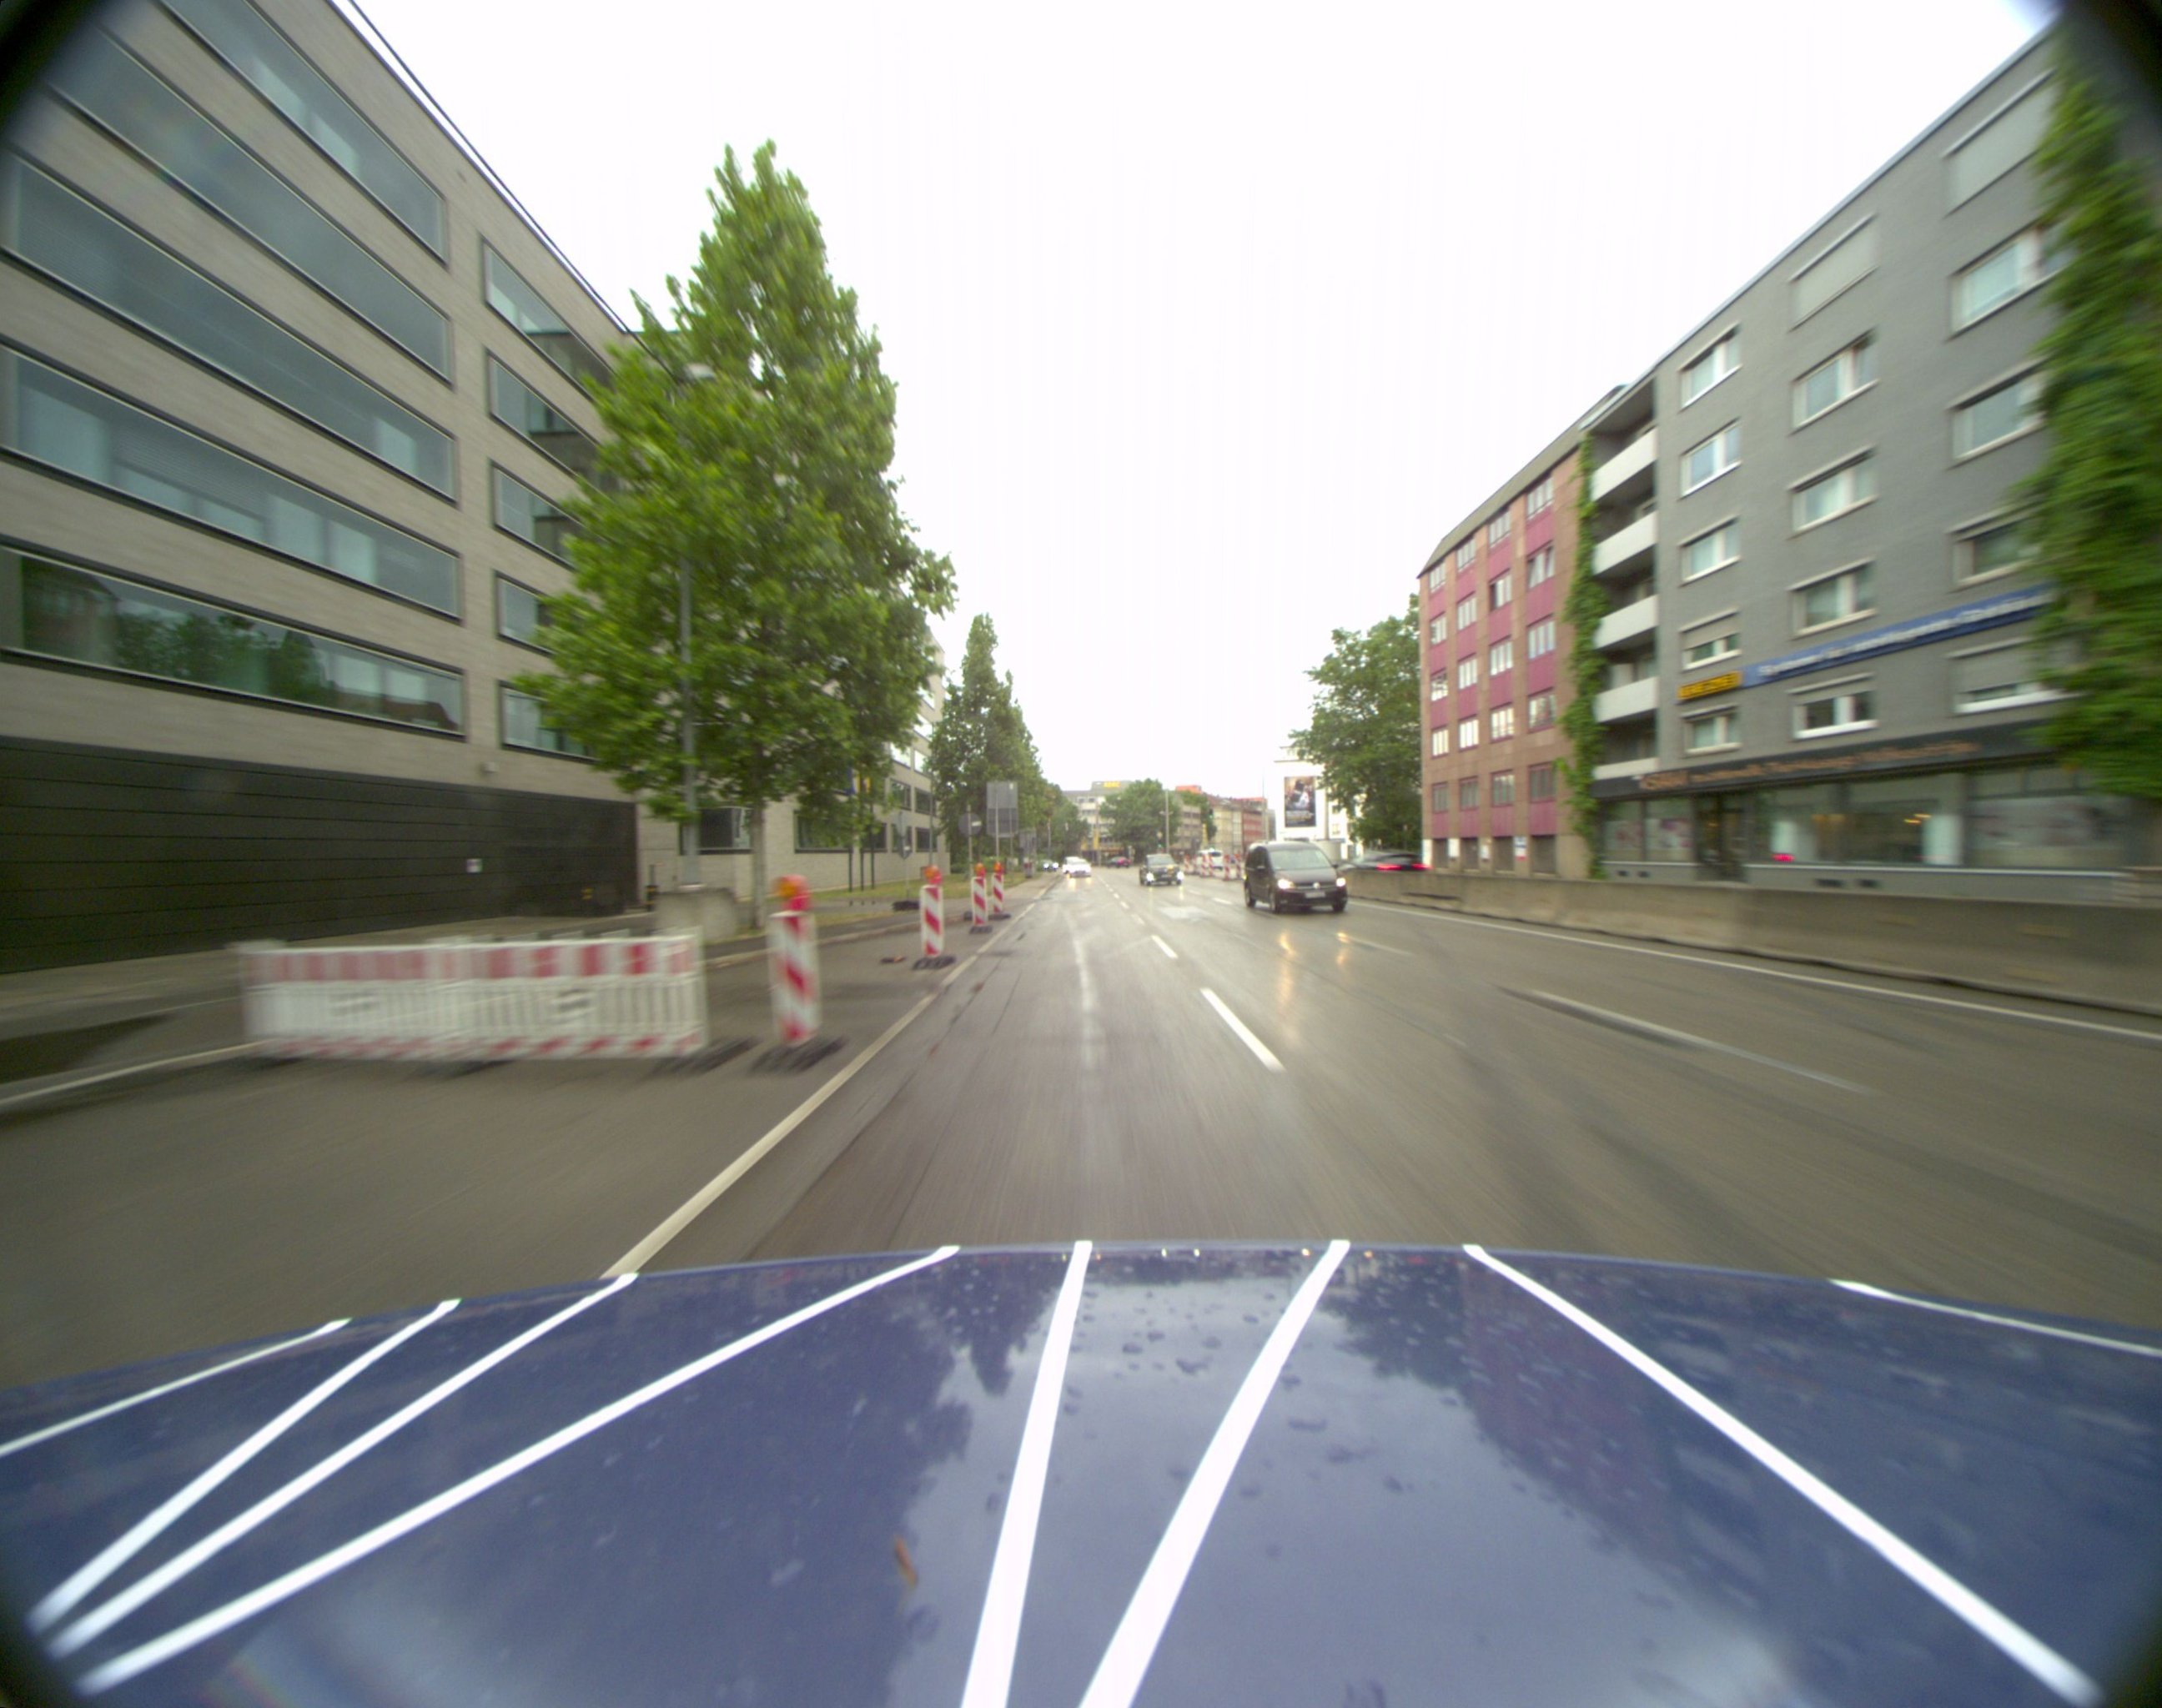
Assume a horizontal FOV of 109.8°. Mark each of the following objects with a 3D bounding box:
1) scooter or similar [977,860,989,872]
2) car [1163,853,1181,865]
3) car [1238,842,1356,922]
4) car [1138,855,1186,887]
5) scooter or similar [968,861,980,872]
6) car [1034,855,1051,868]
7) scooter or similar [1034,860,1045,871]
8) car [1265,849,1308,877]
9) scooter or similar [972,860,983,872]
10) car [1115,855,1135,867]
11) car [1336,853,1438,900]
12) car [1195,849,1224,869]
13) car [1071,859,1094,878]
[{"bbox_3d":[-10.800,1.319,83.762,1.241,1.305,0.554,0,1,-3],"label":"scooter or similar"},{"bbox_3d":[11.396,0.688,95.227,1.560,1.475,2.948,0,-1,-6],"label":"car"},{"bbox_3d":[5.419,0.647,19.658,1.795,1.789,4.125,-3,0,0],"label":"car"},{"bbox_3d":[4.250,0.866,40.349,1.930,1.531,3.999,-2,-1,-3],"label":"car"},{"bbox_3d":[-11.930,1.383,84.788,1.241,1.305,0.472,0,1,-3],"label":"scooter or similar"},{"bbox_3d":[-4.463,0.846,88.231,1.848,1.483,3.998,0,0,-4],"label":"car"},{"bbox_3d":[-4.634,1.261,83.991,0.638,1.122,1.590,0,0,-25],"label":"scooter or similar"},{"bbox_3d":[13.511,0.594,50.190,1.725,1.760,4.425,0,0,1],"label":"car"},{"bbox_3d":[-11.489,1.335,84.272,1.241,1.305,0.472,0,1,-3],"label":"scooter or similar"},{"bbox_3d":[6.278,0.942,109.580,2.000,1.667,4.934,0,0,-7],"label":"car"},{"bbox_3d":[10.721,0.747,26.942,1.865,1.524,4.230,0,0,-1],"label":"car"},{"bbox_3d":[12.952,0.468,77.028,1.999,1.979,5.288,0,0,-1],"label":"car"},{"bbox_3d":[0.185,1.229,64.853,1.847,1.566,4.000,0,0,1],"label":"car"}]
